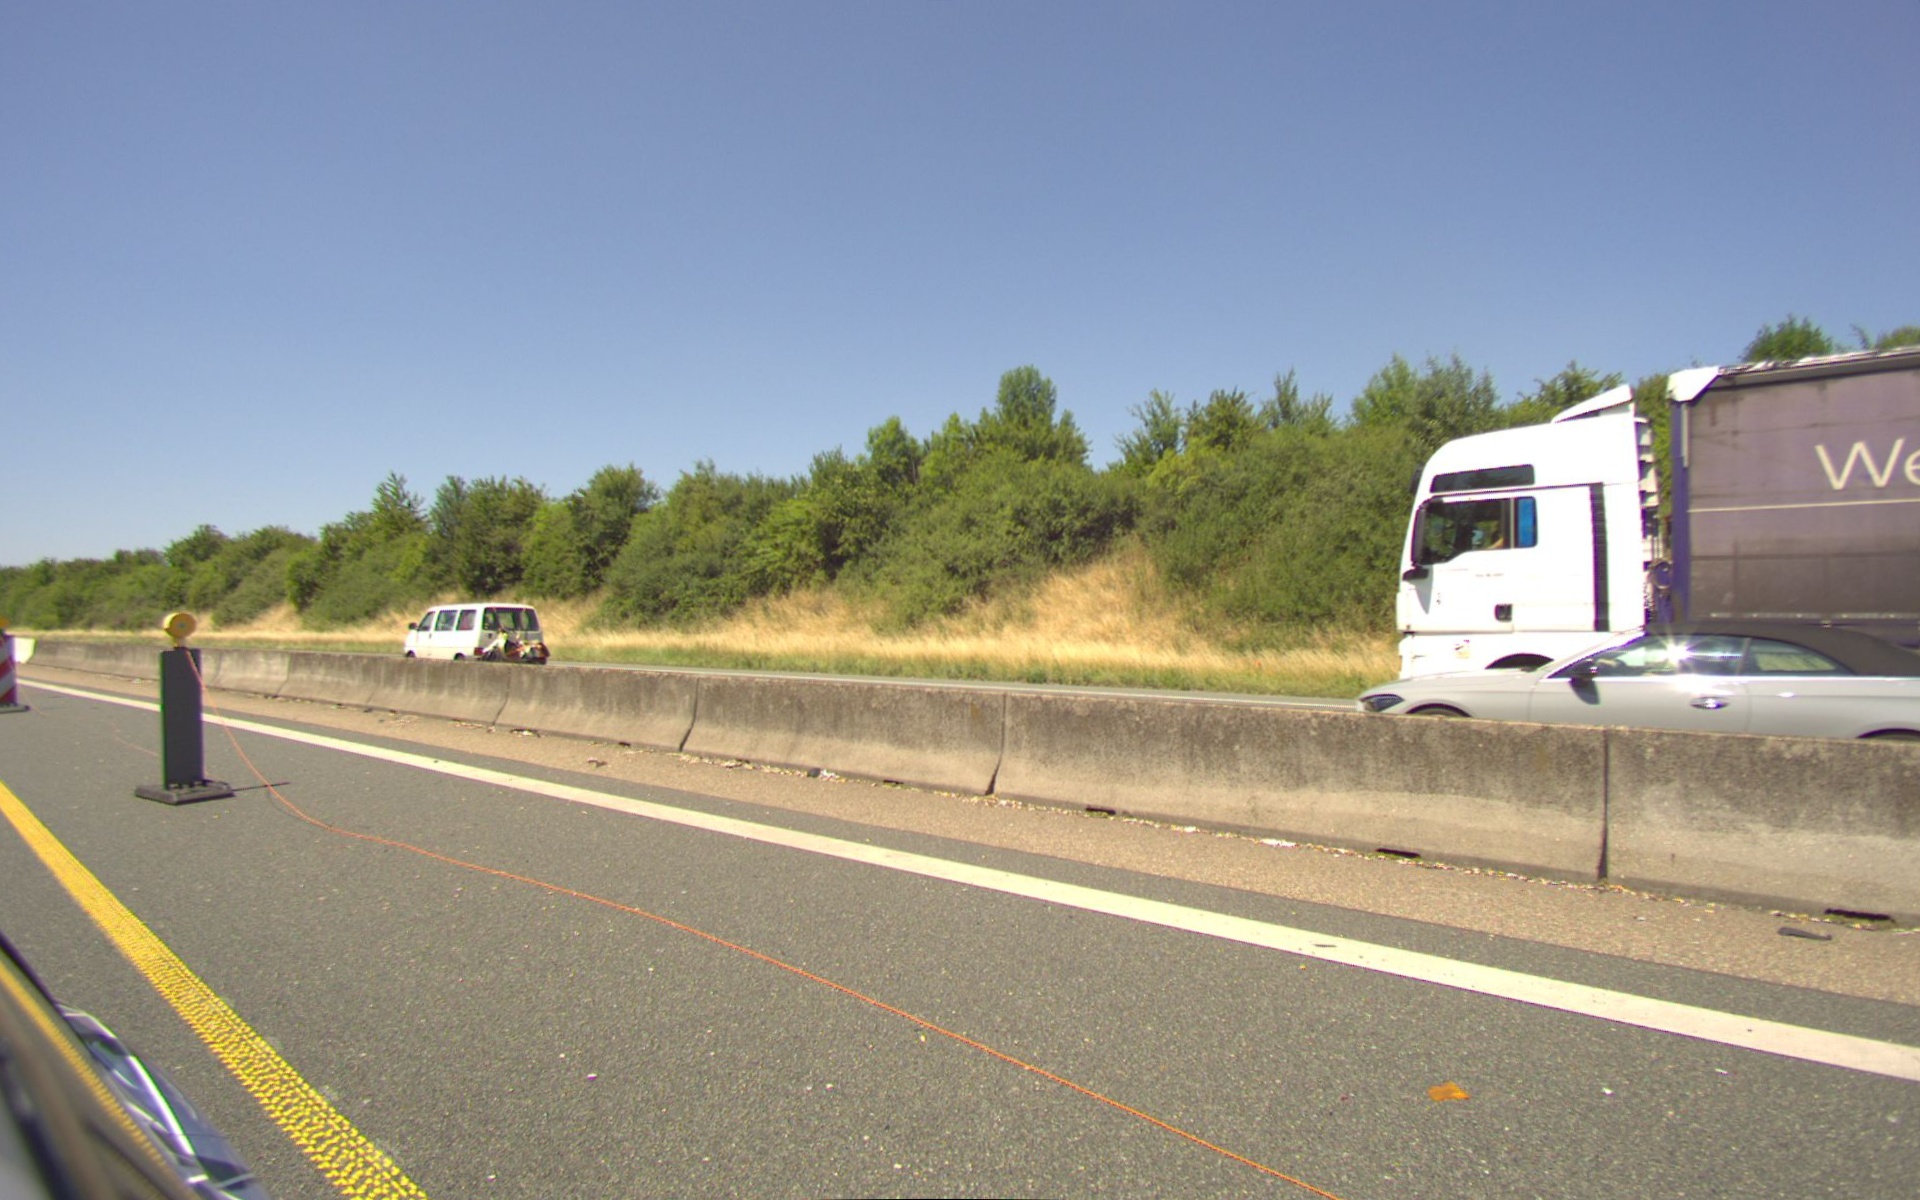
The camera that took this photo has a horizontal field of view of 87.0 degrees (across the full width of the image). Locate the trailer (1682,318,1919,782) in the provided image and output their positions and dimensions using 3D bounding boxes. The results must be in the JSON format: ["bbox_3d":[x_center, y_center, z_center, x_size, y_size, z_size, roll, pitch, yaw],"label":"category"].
[{"bbox_3d":[13.616,-0.521,7.146,13.670,4.212,3.129,-1,-2,39],"label":"trailer"}]

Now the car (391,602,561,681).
[{"bbox_3d":[-12.316,1.015,25.566,5.451,1.806,1.847,-1,-2,41],"label":"car"}]

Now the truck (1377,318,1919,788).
[{"bbox_3d":[8.878,-0.383,11.034,7.407,4.257,3.132,-1,-2,39],"label":"truck"}]

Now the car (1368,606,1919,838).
[{"bbox_3d":[5.836,0.816,7.886,4.629,1.482,1.745,-1,-2,40],"label":"car"}]
